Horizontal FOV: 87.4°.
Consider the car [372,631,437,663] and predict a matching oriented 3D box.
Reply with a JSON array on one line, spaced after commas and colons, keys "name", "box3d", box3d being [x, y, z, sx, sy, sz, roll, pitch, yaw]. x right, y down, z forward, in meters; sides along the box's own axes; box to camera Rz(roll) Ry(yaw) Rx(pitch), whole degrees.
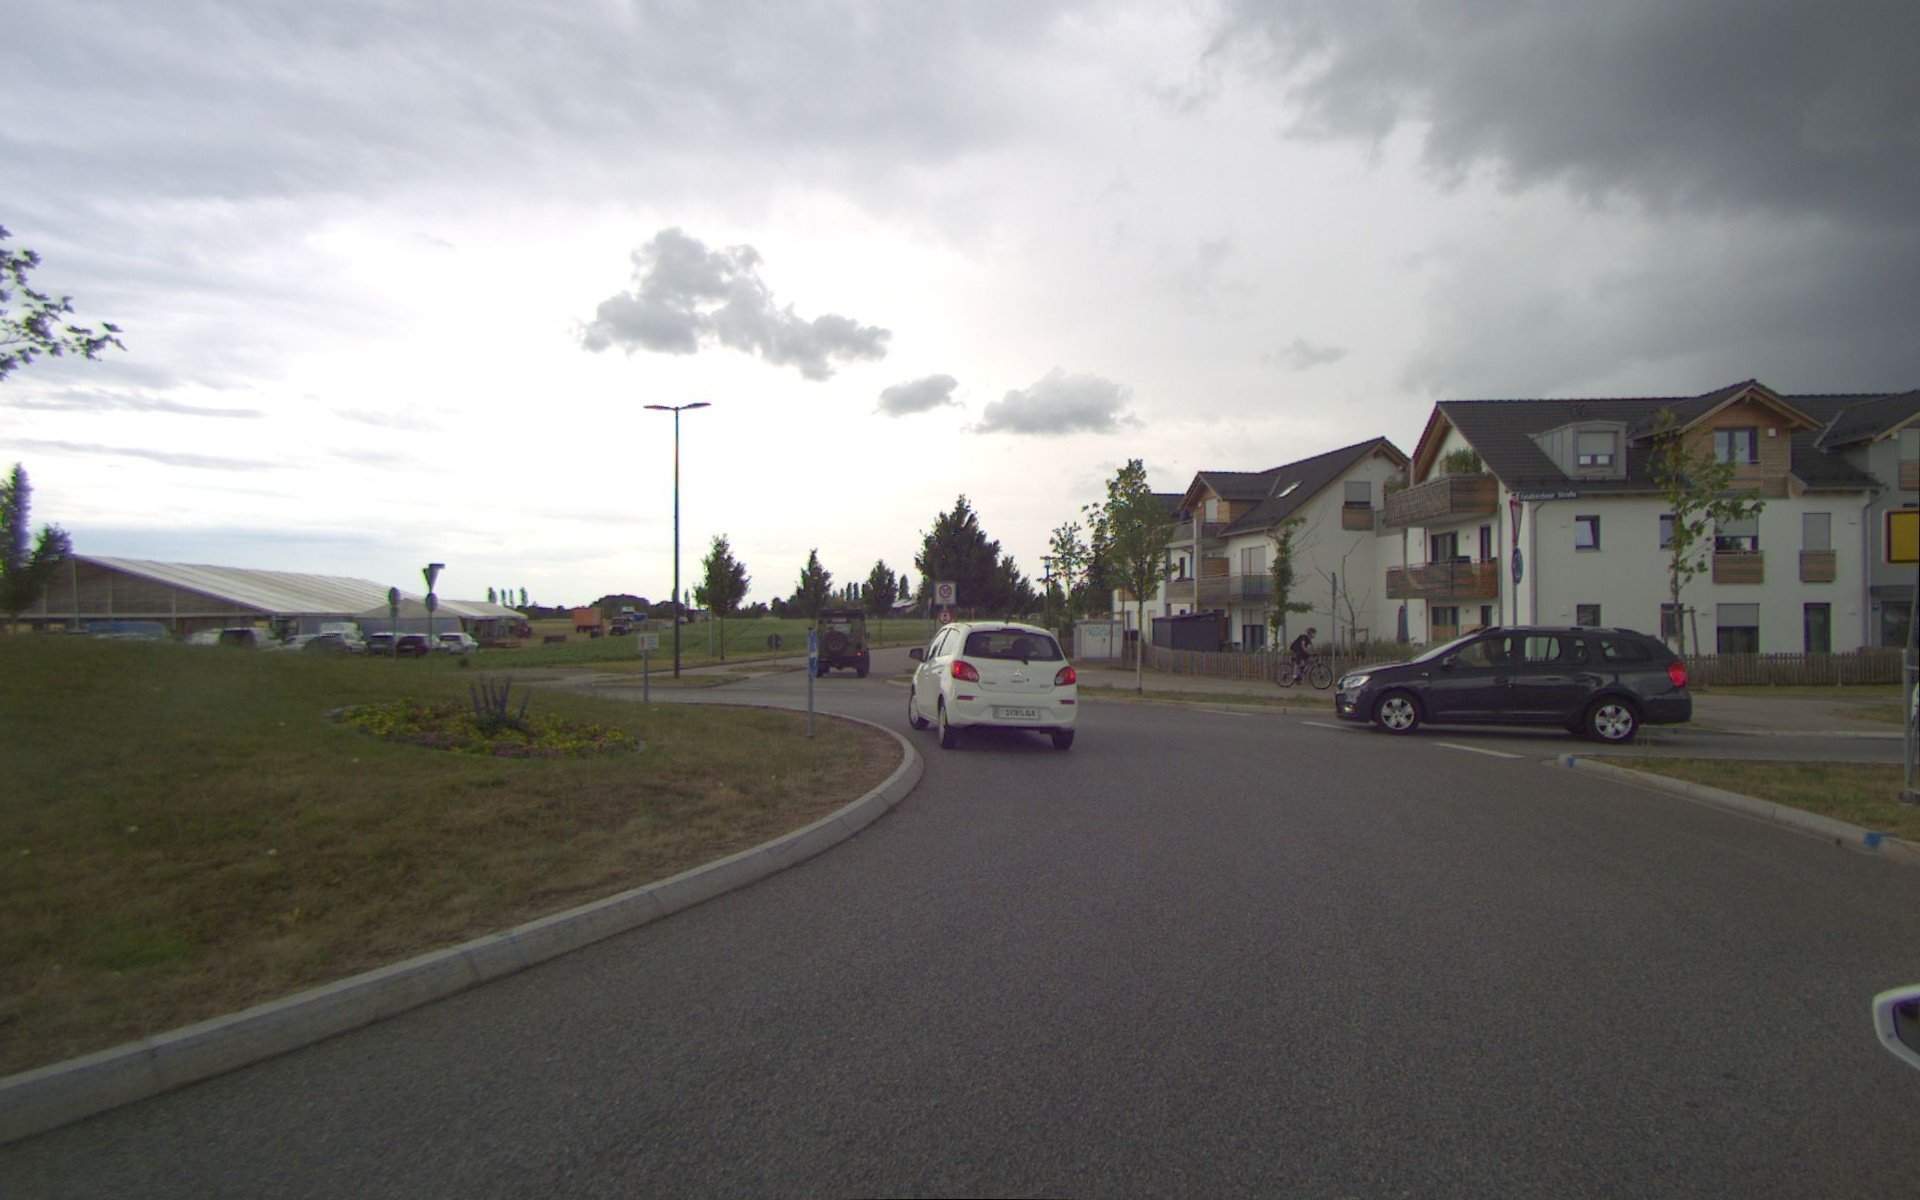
[{"name": "car", "box3d": [-29.987, 2.509, 54.208, 3.813, 1.628, 1.630, -1, -1, 36]}]

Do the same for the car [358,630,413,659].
[{"name": "car", "box3d": [-33.915, 2.600, 59.387, 1.804, 1.628, 3.819, 0, -1, -14]}]

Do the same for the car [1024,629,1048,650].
[{"name": "car", "box3d": [6.297, 3.269, 83.728, 1.730, 1.579, 4.000, 0, 0, 1]}]

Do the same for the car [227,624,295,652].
[{"name": "car", "box3d": [-40.529, 2.190, 58.319, 1.919, 1.461, 3.988, 1, -1, -14]}]

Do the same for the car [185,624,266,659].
[{"name": "car", "box3d": [-32.837, 1.824, 44.874, 3.937, 1.461, 1.944, -1, -1, 38]}]

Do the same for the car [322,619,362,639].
[{"name": "car", "box3d": [-53.140, 2.475, 86.467, 1.804, 1.628, 3.820, 0, -1, -13]}]

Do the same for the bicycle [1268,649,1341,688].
[{"name": "bicycle", "box3d": [8.733, 1.720, 25.522, 1.688, 0.958, 0.495, -2, -3, 41]}]

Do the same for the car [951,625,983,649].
[{"name": "car", "box3d": [0.554, 2.761, 75.614, 1.821, 1.662, 4.003, 0, -1, 9]}]

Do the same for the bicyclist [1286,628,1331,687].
[{"name": "bicyclist", "box3d": [8.834, 1.440, 25.463, 0.856, 1.465, 0.721, -2, -3, 41]}]

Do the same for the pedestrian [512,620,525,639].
[{"name": "pedestrian", "box3d": [-48.089, 3.198, 109.326, 1.032, 2.040, 1.059, 0, 0, -10]}]

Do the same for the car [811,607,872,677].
[{"name": "car", "box3d": [-4.207, 1.442, 35.200, 1.963, 2.283, 4.565, 1, -1, -9]}]

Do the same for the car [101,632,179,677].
[{"name": "car", "box3d": [-34.366, 2.256, 42.065, 3.937, 1.574, 1.709, 1, 2, 38]}]

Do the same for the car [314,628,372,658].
[{"name": "car", "box3d": [-36.427, 2.518, 59.376, 1.804, 1.628, 3.819, 0, -1, -14]}]

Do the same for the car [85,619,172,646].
[{"name": "car", "box3d": [-47.498, 1.824, 57.477, 1.915, 1.461, 3.996, -1, -1, -7]}]

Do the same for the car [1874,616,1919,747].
[{"name": "car", "box3d": [14.240, 1.031, 12.277, 4.360, 1.647, 1.715, 0, -2, 5]}]

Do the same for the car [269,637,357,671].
[{"name": "car", "box3d": [-32.684, 2.722, 50.756, 3.800, 1.628, 1.734, -1, -1, 19]}]

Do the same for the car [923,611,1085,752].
[{"name": "car", "box3d": [0.437, 0.966, 12.930, 1.602, 1.539, 3.397, 2, -2, -5]}]

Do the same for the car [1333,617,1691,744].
[{"name": "car", "box3d": [7.603, 1.073, 14.320, 4.194, 1.584, 1.774, 0, -2, 18]}]

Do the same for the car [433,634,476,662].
[{"name": "car", "box3d": [-30.573, 2.876, 60.864, 1.704, 1.574, 3.984, 0, -1, -18]}]
